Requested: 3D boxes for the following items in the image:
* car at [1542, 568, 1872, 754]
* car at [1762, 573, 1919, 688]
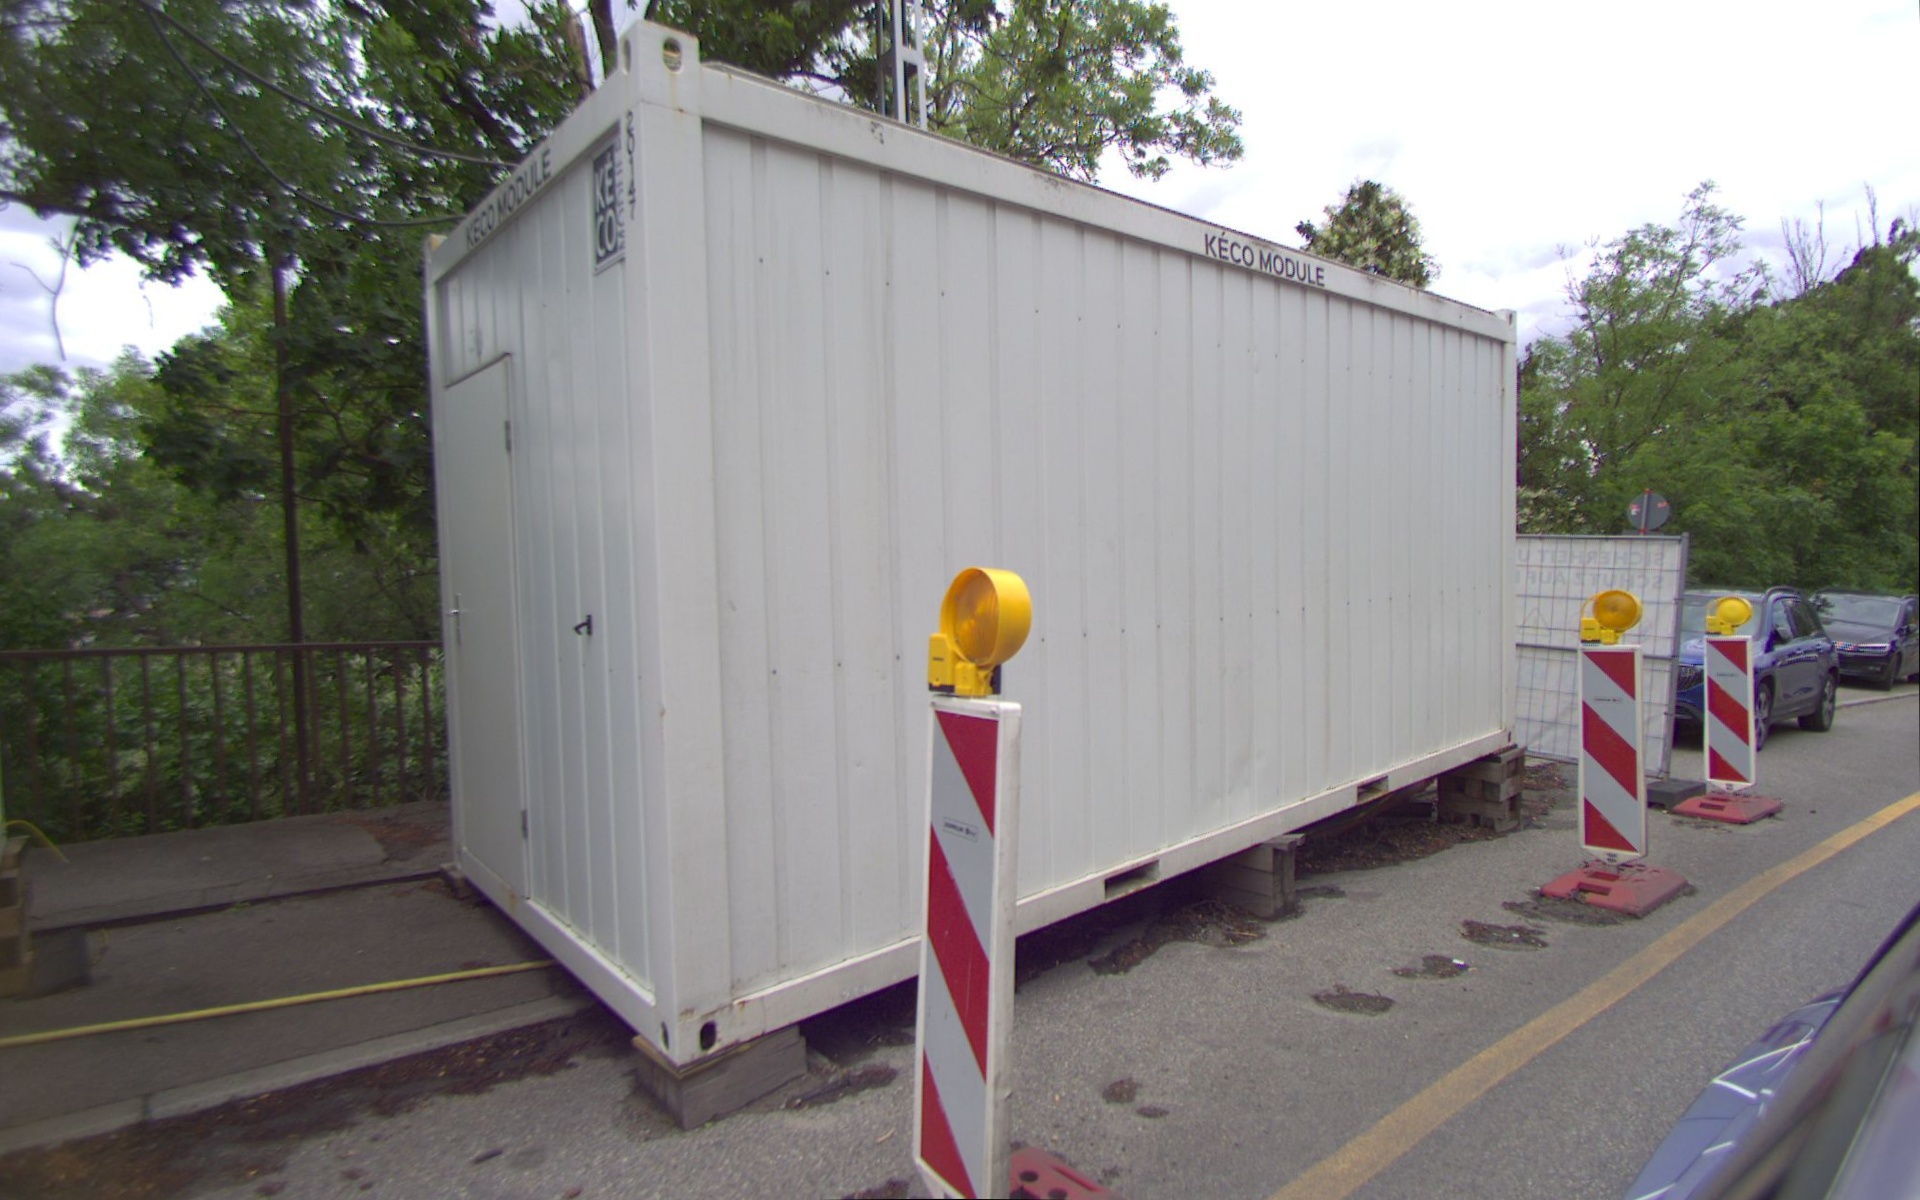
[{"bbox_3d":[8.680,0.552,11.632,4.420,1.662,1.845,0,4,-38],"label":"car"},{"bbox_3d":[16.694,0.487,18.579,4.560,1.693,1.869,0,7,-37],"label":"car"}]
